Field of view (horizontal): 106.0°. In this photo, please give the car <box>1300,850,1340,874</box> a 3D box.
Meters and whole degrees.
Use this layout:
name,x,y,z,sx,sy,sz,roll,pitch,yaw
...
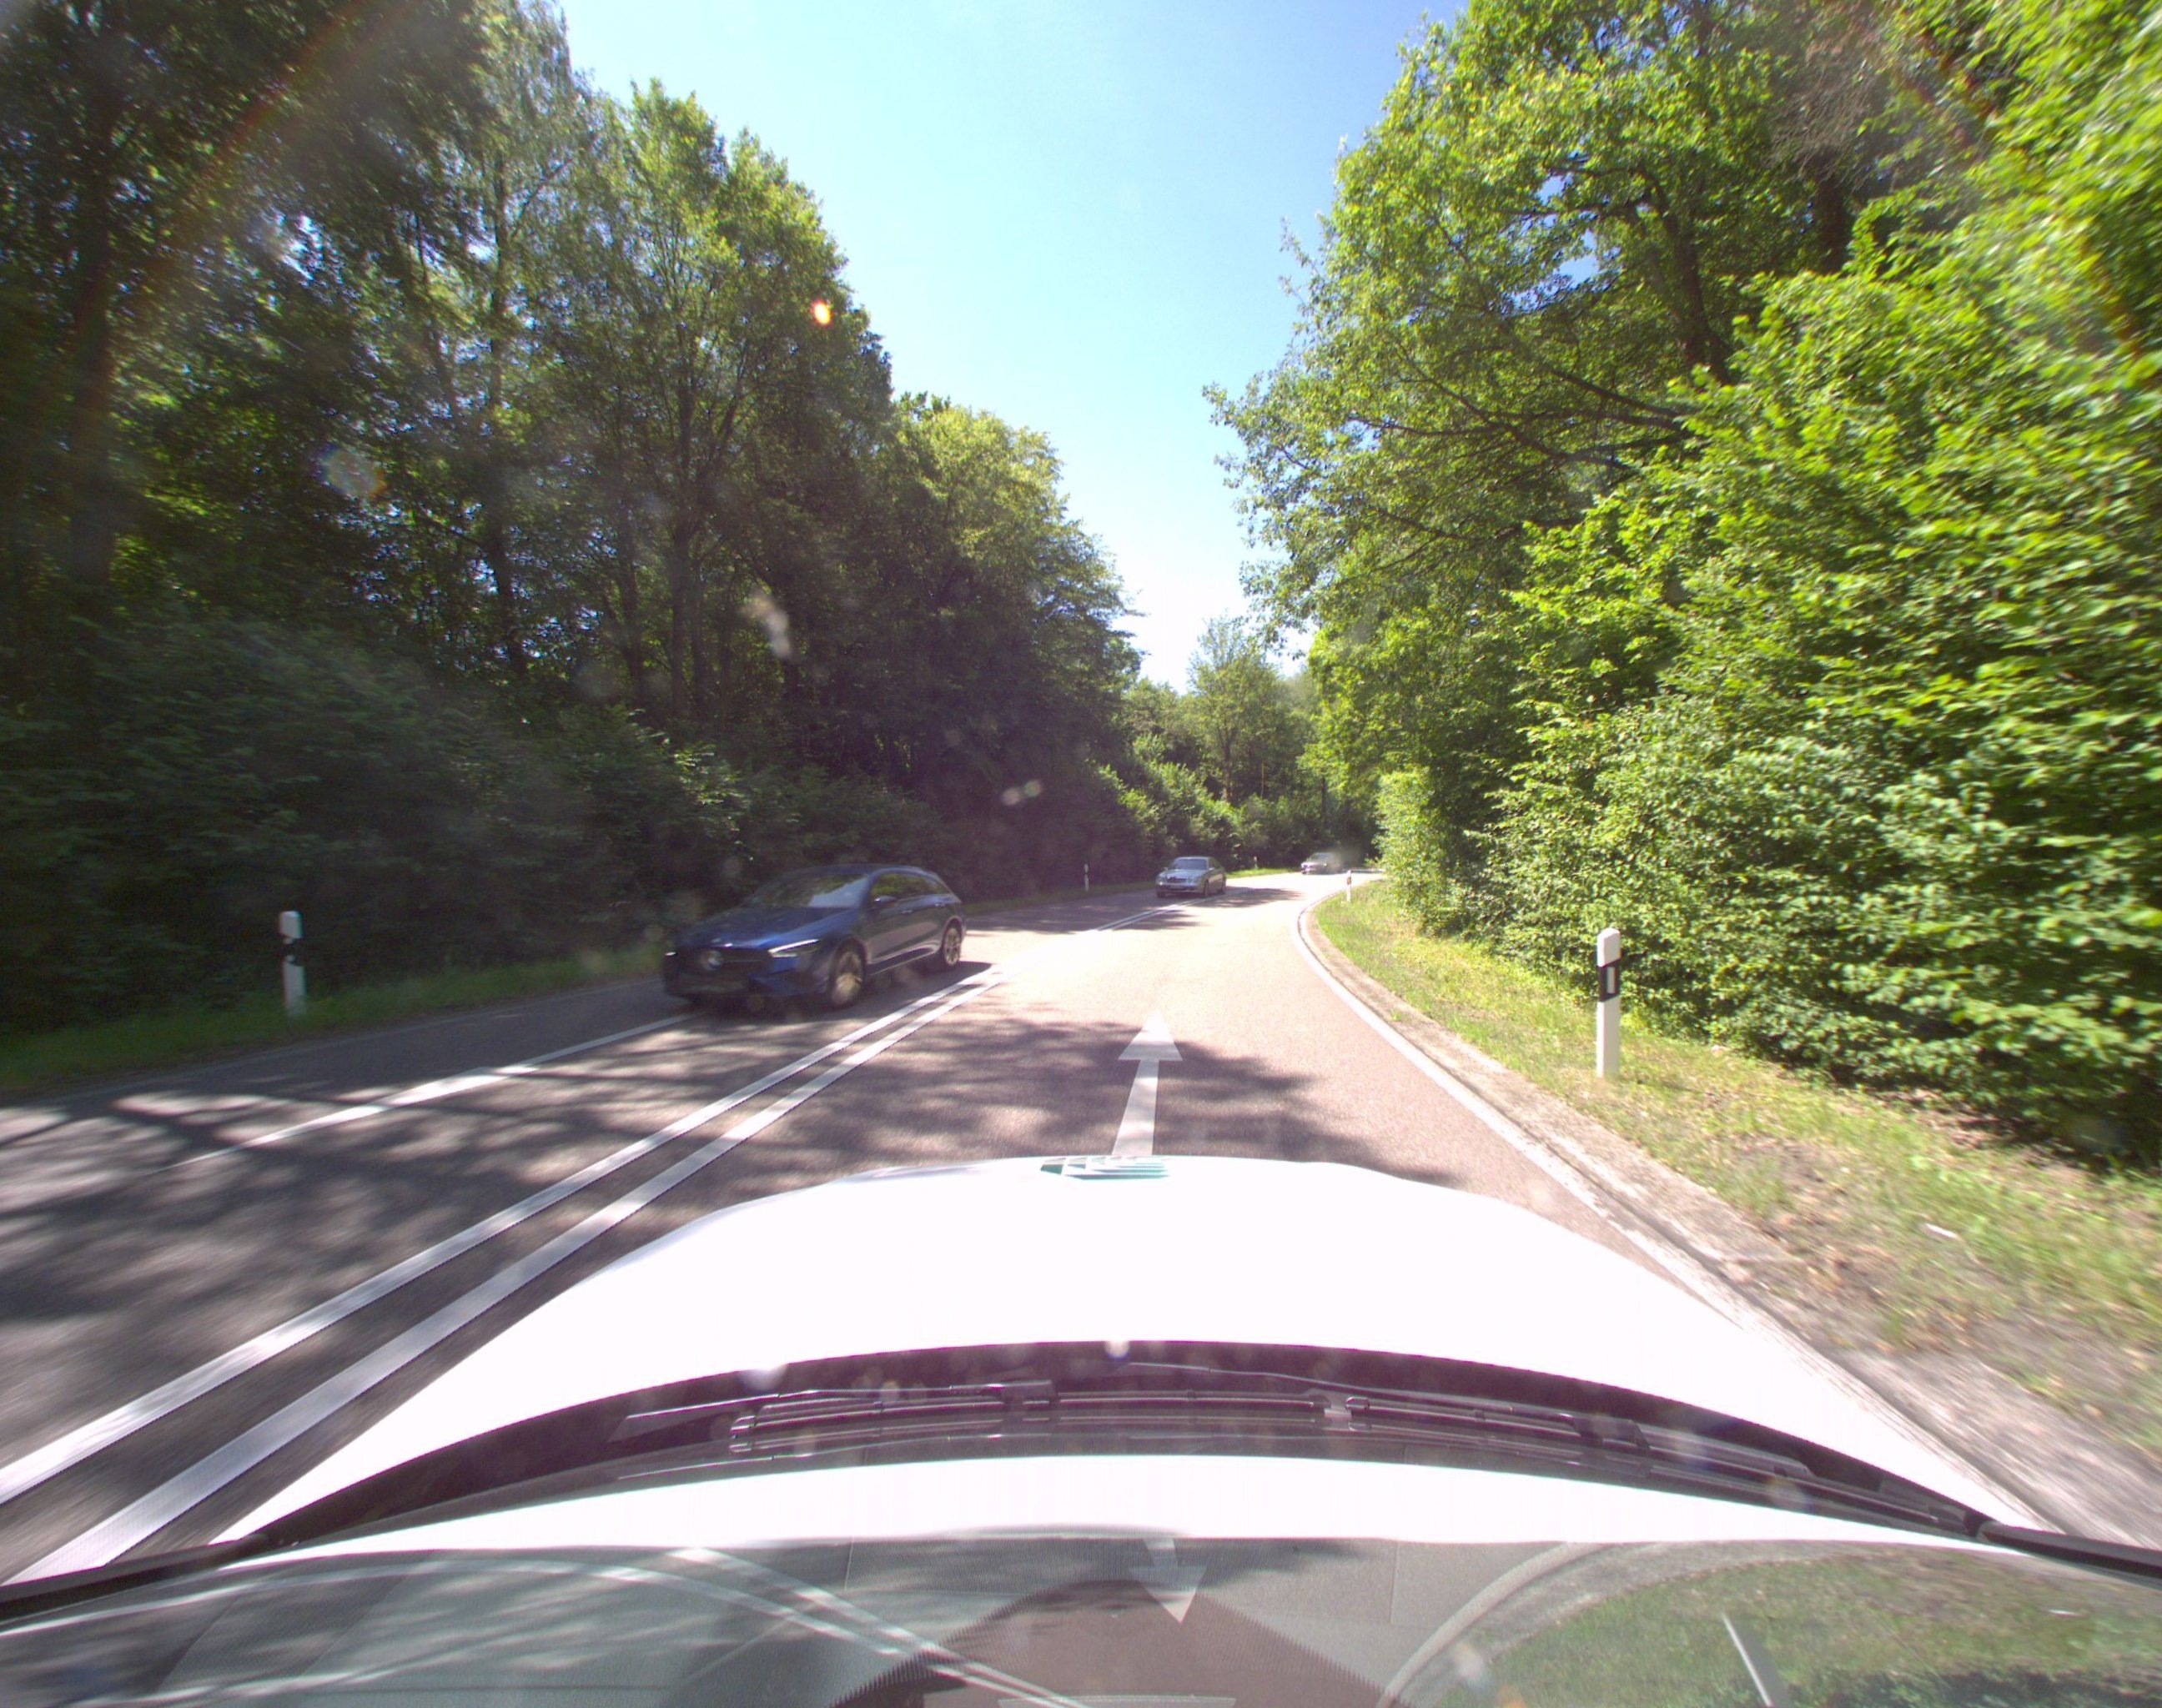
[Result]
name,x,y,z,sx,sy,sz,roll,pitch,yaw
car,16.189,0.532,55.002,1.740,1.574,4.394,-1,0,28

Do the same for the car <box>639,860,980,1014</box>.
name,x,y,z,sx,sy,sz,roll,pitch,yaw
car,-2.867,0.810,9.789,1.776,1.406,4.377,-2,-1,14

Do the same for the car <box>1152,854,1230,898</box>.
name,x,y,z,sx,sy,sz,roll,pitch,yaw
car,4.200,0.770,30.433,1.830,1.486,4.789,-2,-1,20
